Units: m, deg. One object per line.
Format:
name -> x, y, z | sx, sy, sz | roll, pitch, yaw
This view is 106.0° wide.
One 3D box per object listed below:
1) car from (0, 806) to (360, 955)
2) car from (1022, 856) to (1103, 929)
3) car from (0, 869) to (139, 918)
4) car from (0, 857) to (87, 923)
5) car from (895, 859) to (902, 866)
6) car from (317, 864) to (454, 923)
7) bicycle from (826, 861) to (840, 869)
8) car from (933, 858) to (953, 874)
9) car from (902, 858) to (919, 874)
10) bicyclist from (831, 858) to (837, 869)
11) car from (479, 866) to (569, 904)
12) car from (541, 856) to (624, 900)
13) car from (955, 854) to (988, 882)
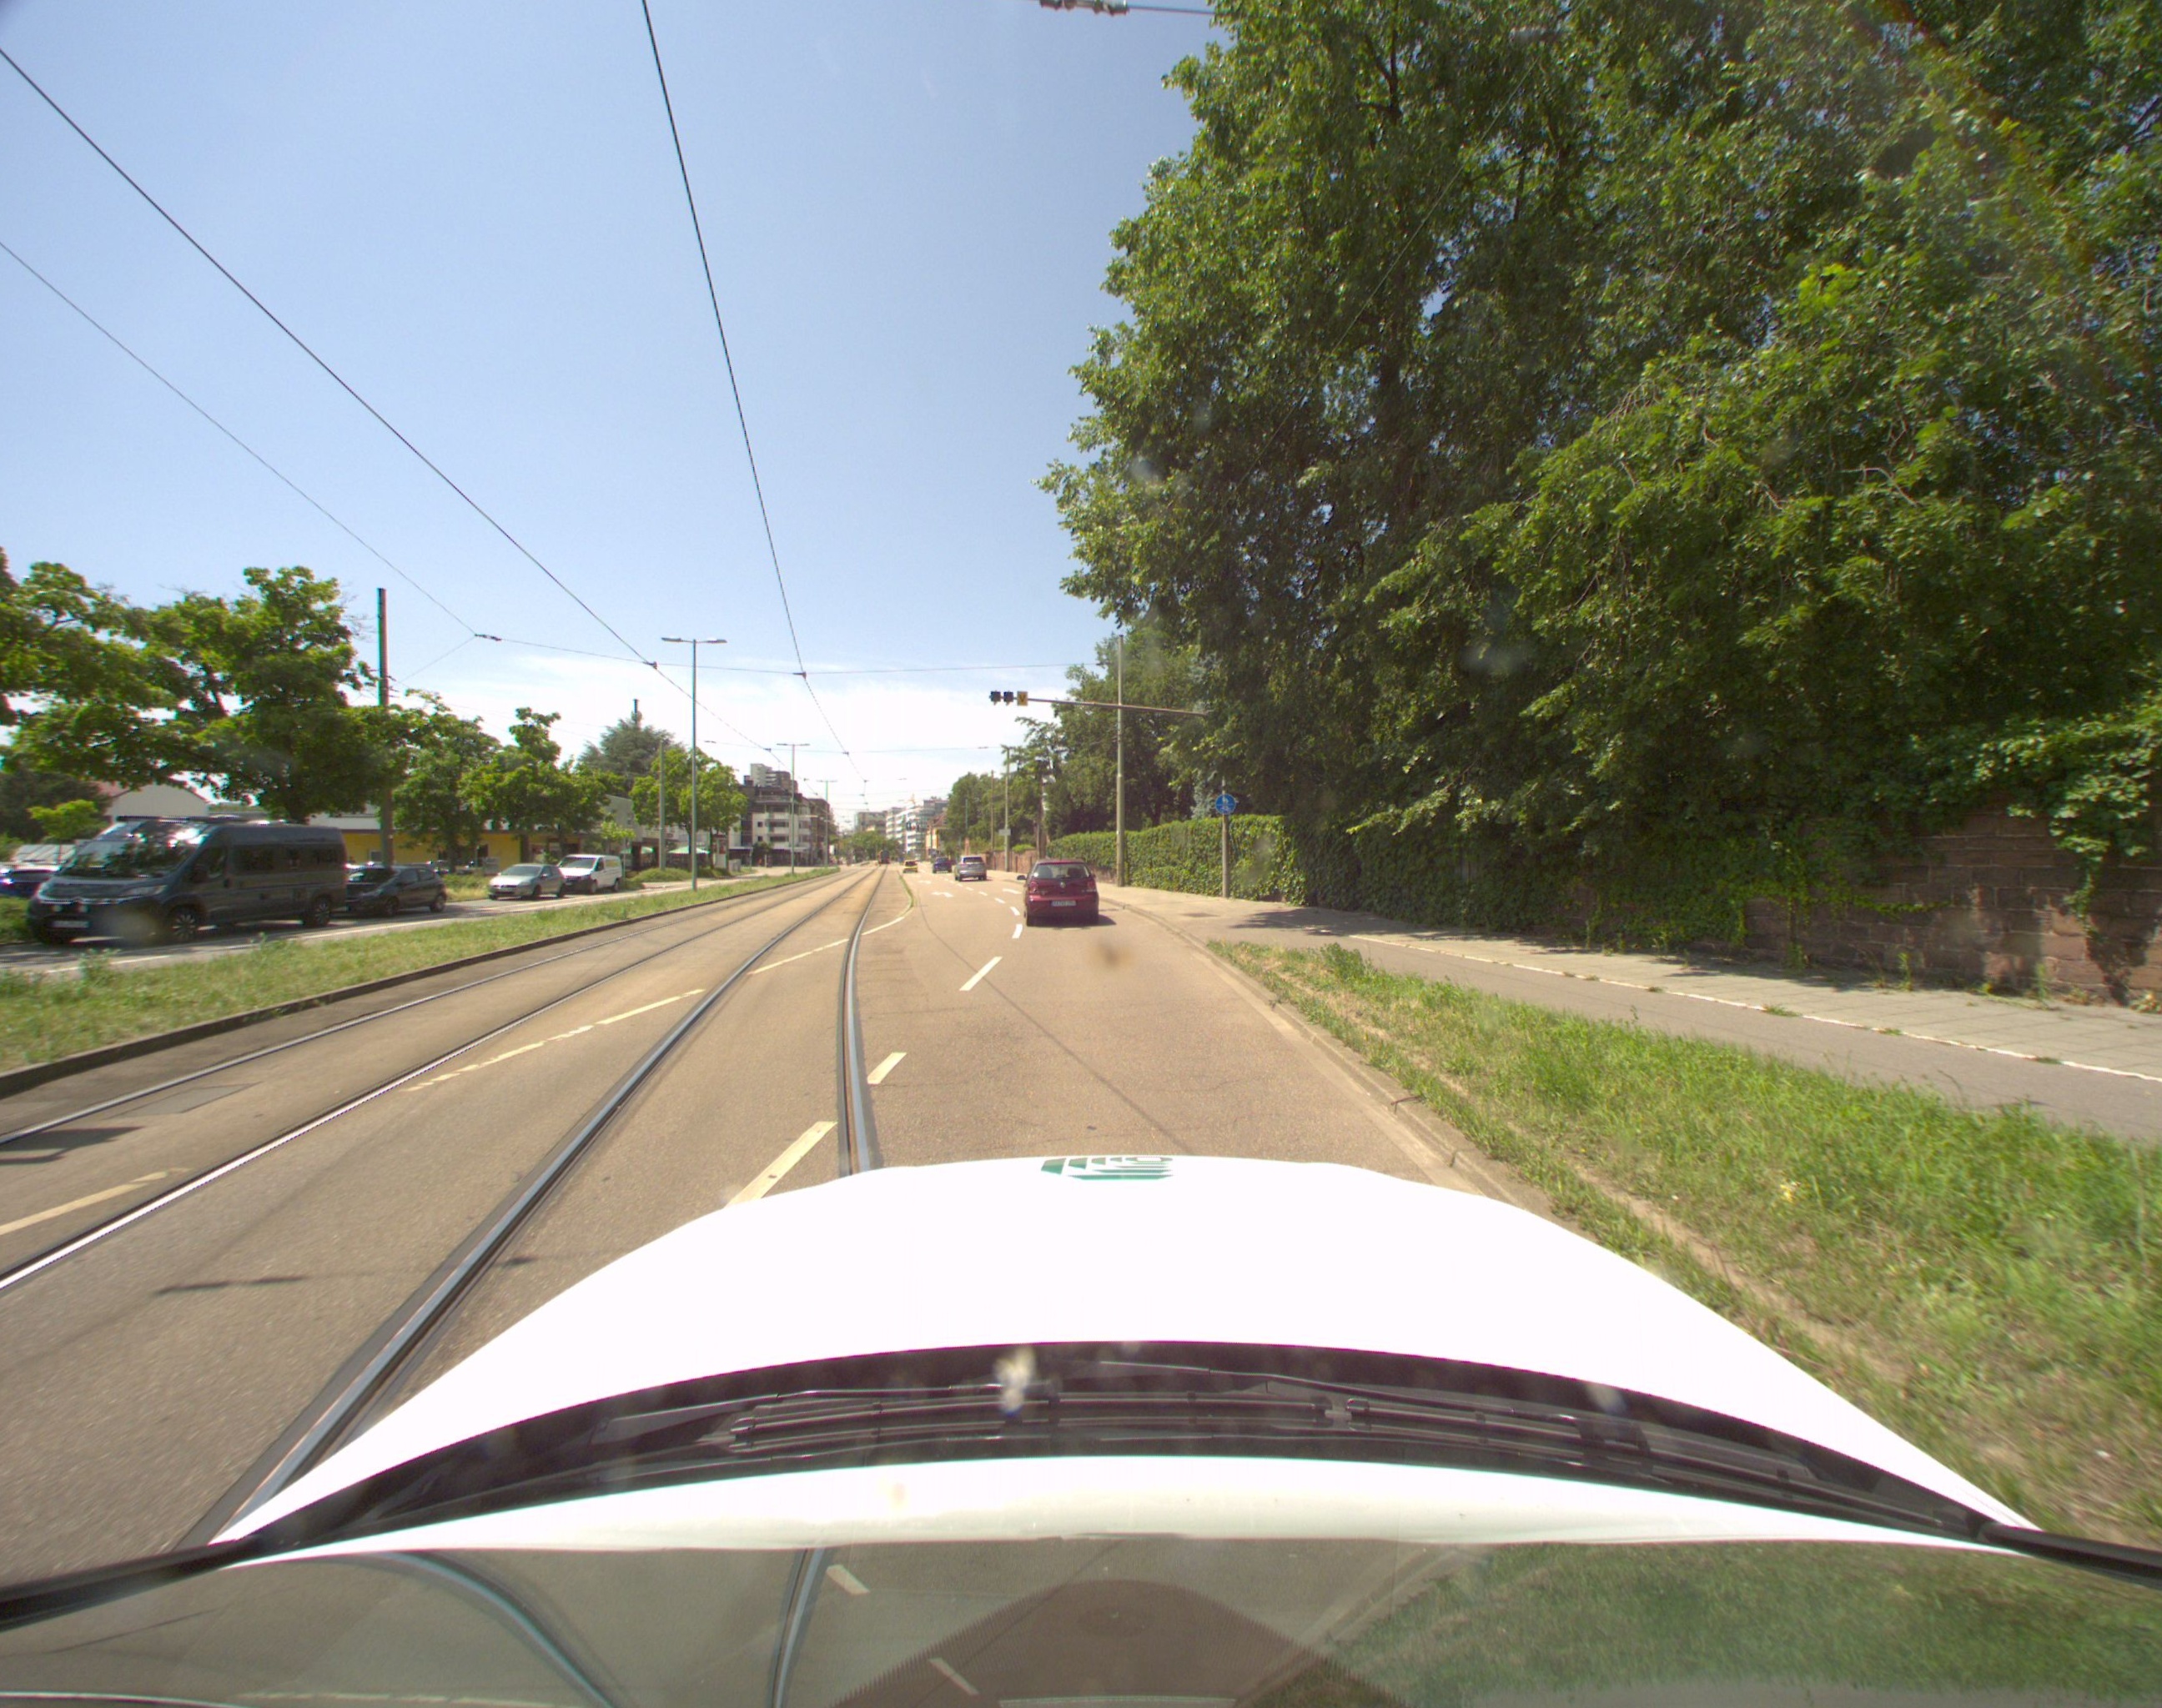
car -> -19.400, 0.508, 17.988 | 2.401, 2.656, 6.145 | 3, -1, -13
car -> -0.535, 0.810, 19.261 | 1.607, 1.498, 3.993 | -1, 0, -5
car -> -33.232, 1.236, 25.720 | 4.217, 1.411, 1.847 | -1, 0, -15
car -> -32.080, 1.042, 23.122 | 4.724, 1.813, 1.788 | -1, 0, -14
car -> -36.095, 1.687, 161.426 | 1.355, 1.252, 2.959 | 1, 0, -13
car -> -20.591, 1.115, 24.321 | 1.313, 1.522, 4.006 | 3, -1, -13
bicycle -> -47.234, 2.145, 155.192 | 2.523, 1.419, 0.632 | -1, 0, -27
car -> -14.284, 1.224, 84.165 | 1.776, 1.630, 3.983 | 1, 0, -12
car -> -19.515, 1.357, 93.101 | 1.797, 1.683, 3.982 | 1, 0, -13
bicyclist -> -47.130, 1.799, 155.284 | 0.961, 2.091, 0.845 | -1, 0, -26
car -> -22.991, 1.252, 33.786 | 1.632, 1.420, 3.852 | 2, -1, -11
car -> -24.504, 1.108, 40.274 | 1.877, 1.965, 5.141 | 3, -1, -13
car -> -7.174, 0.883, 53.041 | 1.797, 1.683, 3.982 | 1, 0, -13
